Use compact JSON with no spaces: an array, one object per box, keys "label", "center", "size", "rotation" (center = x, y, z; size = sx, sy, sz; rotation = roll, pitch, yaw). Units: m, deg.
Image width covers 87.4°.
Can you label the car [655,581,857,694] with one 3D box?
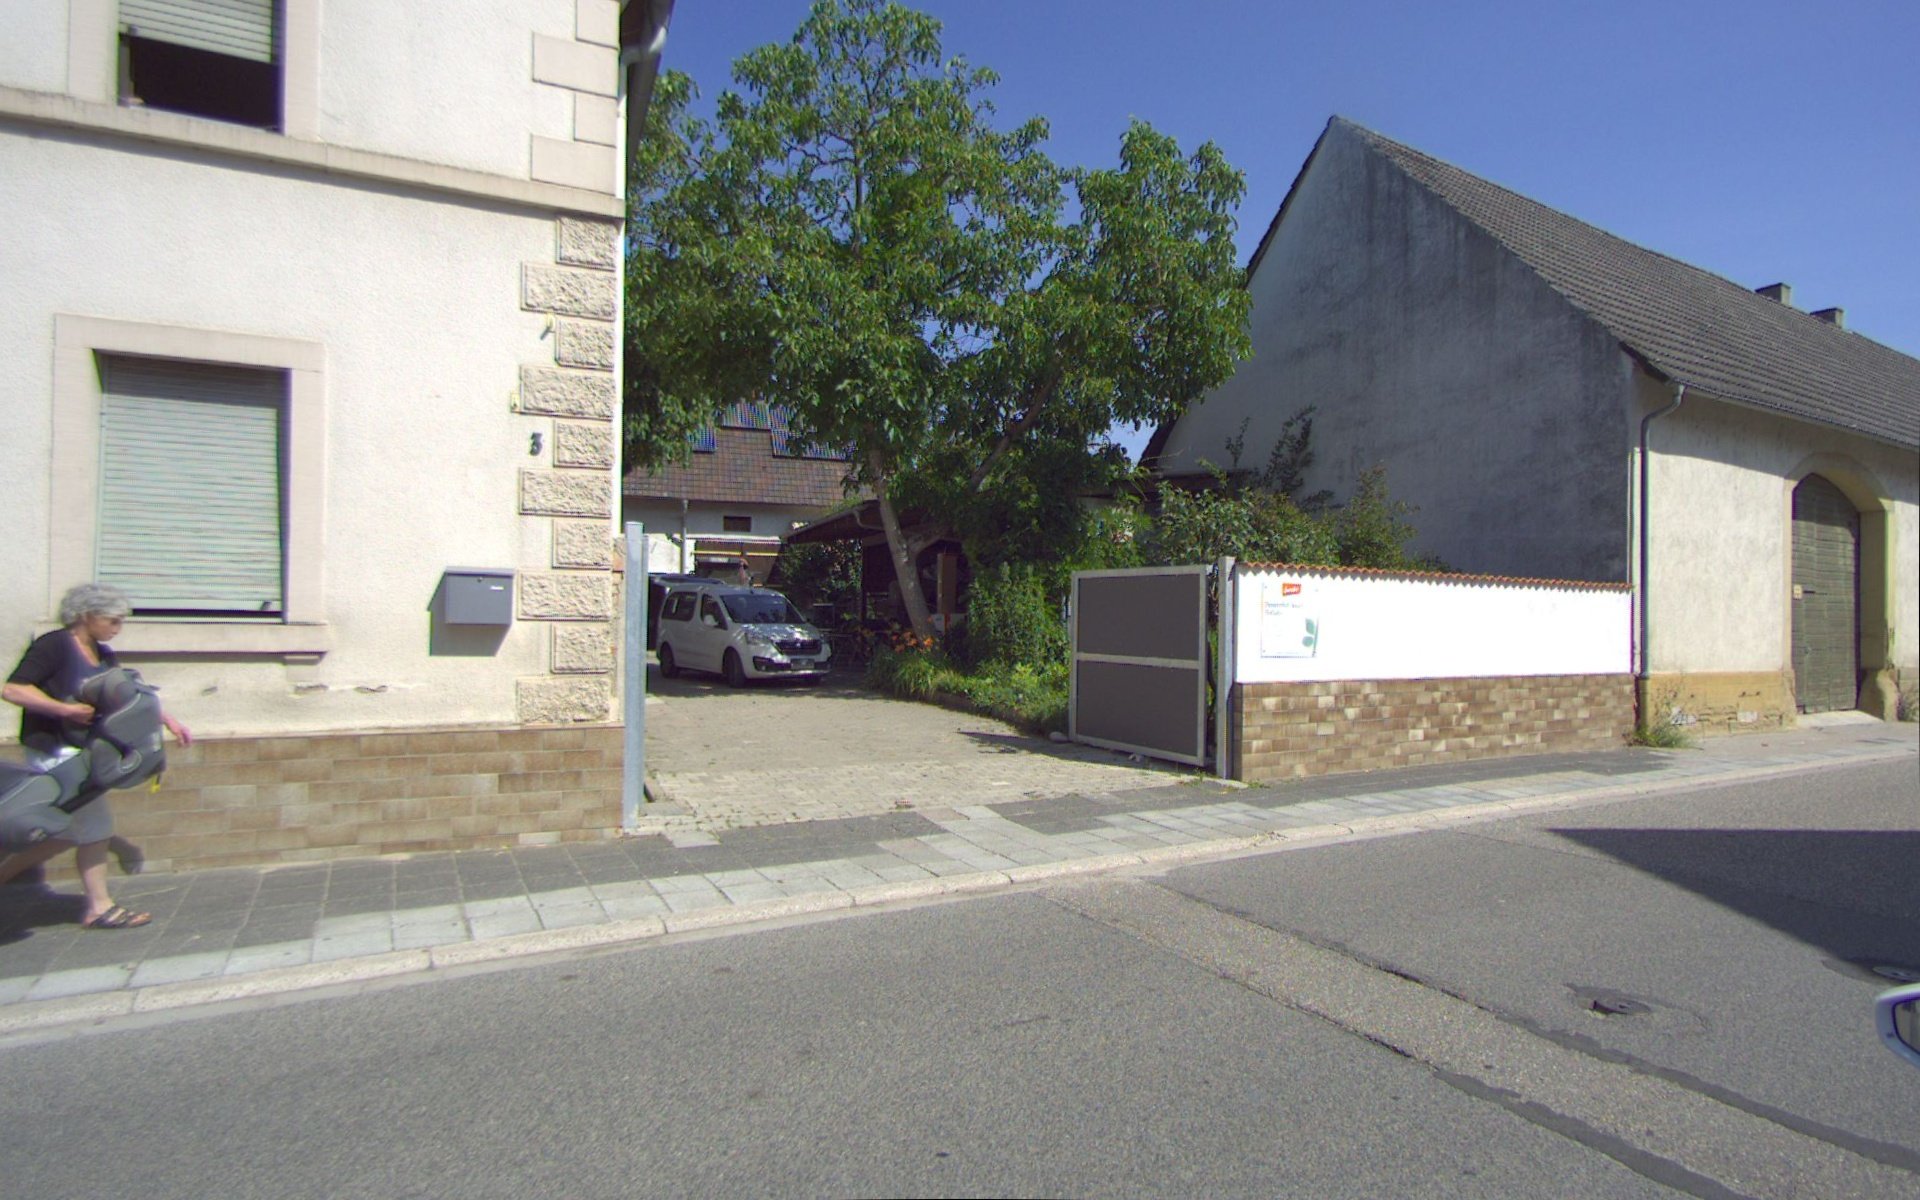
[{"label":"car","center":[-3.867,0.607,18.522],"size":[1.889,1.822,4.206],"rotation":[2,0,-39]}]

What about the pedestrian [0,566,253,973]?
[{"label":"pedestrian","center":[-3.854,0.658,4.381],"size":[1.126,1.572,1.009],"rotation":[1,0,-29]}]

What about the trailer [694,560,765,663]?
[{"label":"trailer","center":[-6.717,0.341,29.533],"size":[1.871,2.791,4.245],"rotation":[1,-1,-12]}]
